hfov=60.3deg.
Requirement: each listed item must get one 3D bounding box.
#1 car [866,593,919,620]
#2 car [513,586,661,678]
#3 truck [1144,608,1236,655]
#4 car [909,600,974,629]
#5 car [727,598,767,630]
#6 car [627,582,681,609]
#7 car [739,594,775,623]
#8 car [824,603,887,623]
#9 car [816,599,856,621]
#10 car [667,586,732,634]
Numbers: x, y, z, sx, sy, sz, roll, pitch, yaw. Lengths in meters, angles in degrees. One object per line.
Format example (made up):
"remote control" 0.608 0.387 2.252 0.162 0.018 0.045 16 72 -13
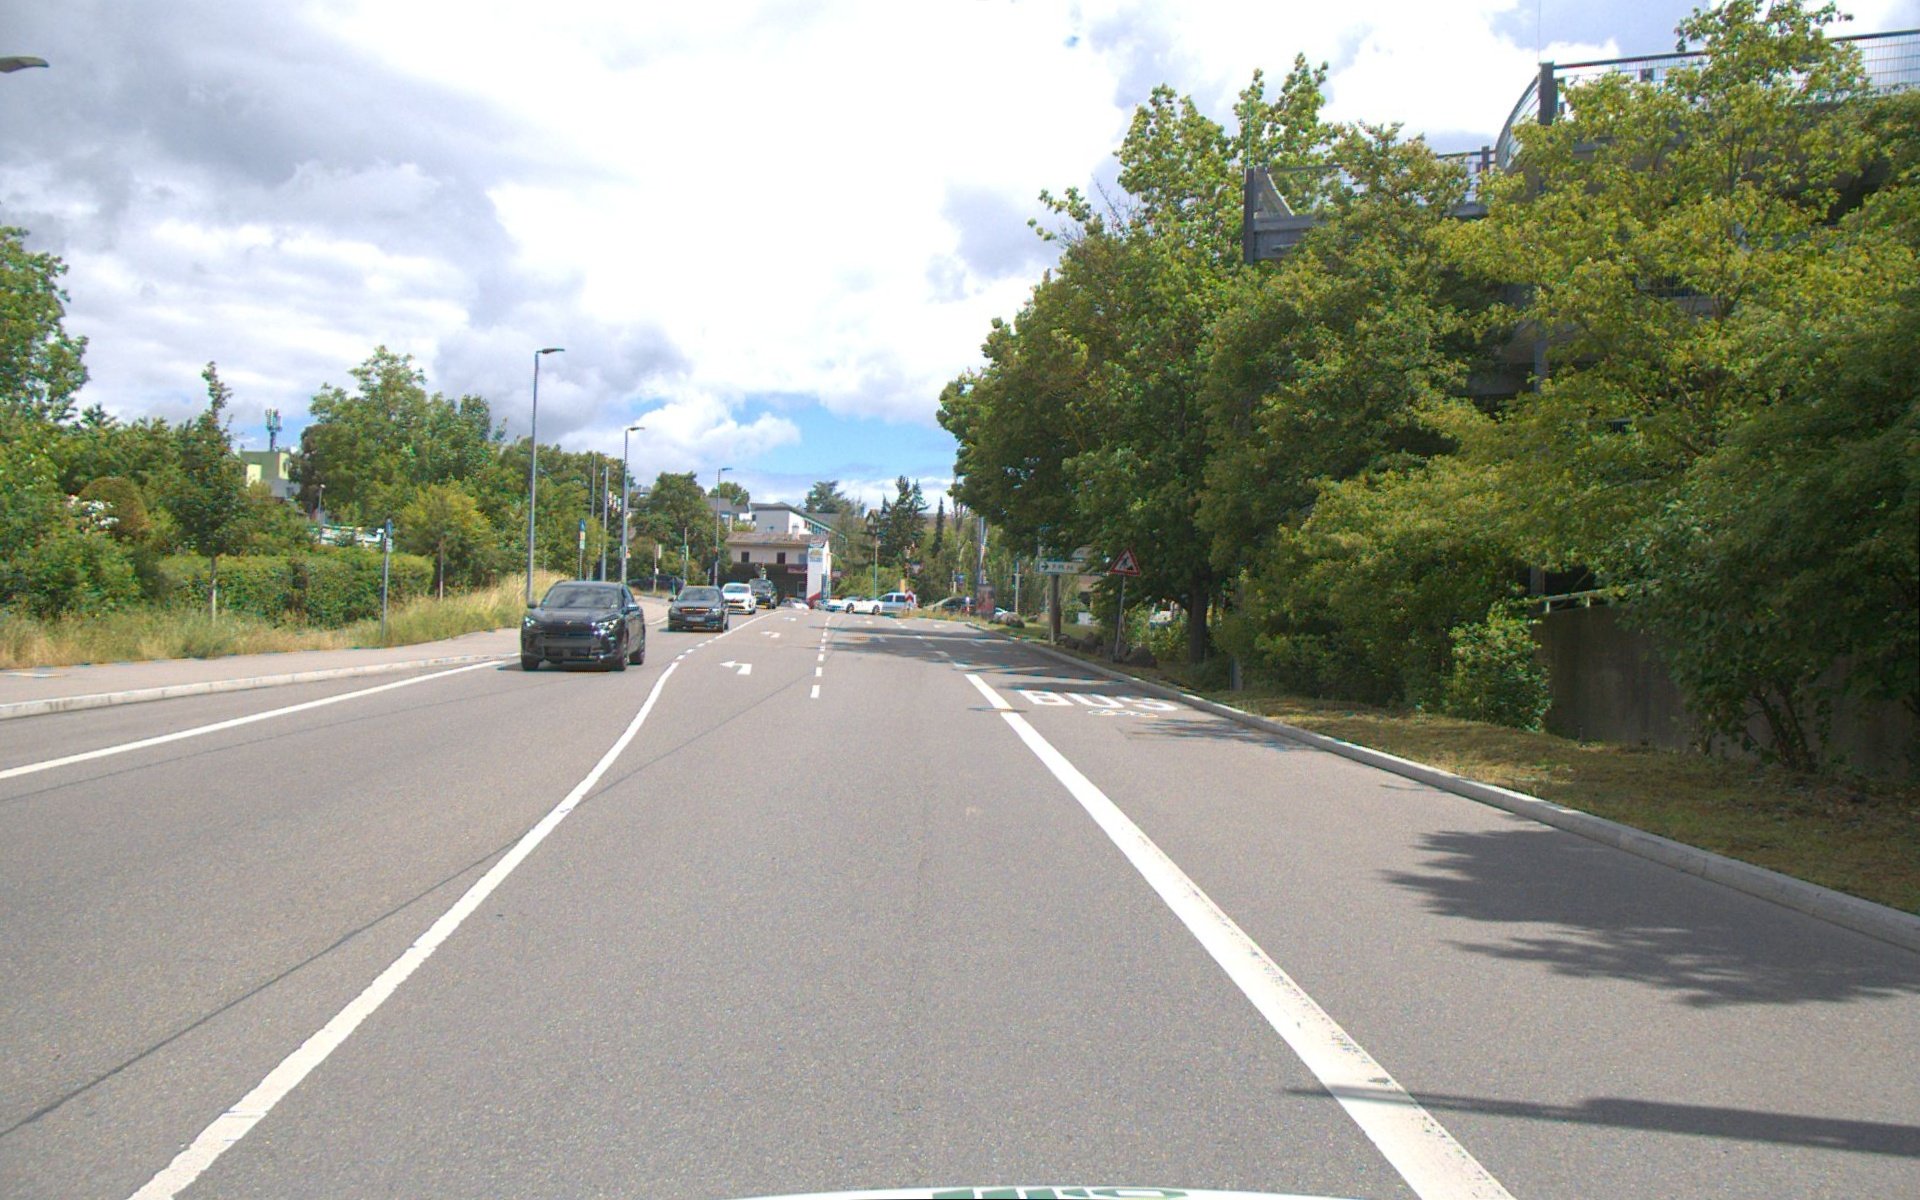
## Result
"car" -5.133 0.484 125.944 3.905 2.049 2.000 0 -1 0
"car" -6.854 0.532 30.871 1.785 1.584 4.628 0 1 -1
"truck" 17.952 2.464 129.262 6.802 3.642 2.846 0 -1 -1
"car" -1.318 1.079 121.865 4.767 1.810 1.764 5 -4 -41
"car" -10.230 0.660 79.719 1.732 1.467 3.896 1 0 -5
"car" -23.265 -0.333 125.749 3.920 1.982 1.992 0 -1 -15
"car" -11.879 0.478 96.913 1.785 1.683 4.529 1 0 -4
"car" -7.307 0.943 115.801 1.874 1.314 4.588 1 -1 38
"car" -10.942 0.870 145.893 1.883 1.892 3.763 1 -1 -35
"car" -8.391 0.308 53.563 1.732 1.467 4.372 1 0 -5
